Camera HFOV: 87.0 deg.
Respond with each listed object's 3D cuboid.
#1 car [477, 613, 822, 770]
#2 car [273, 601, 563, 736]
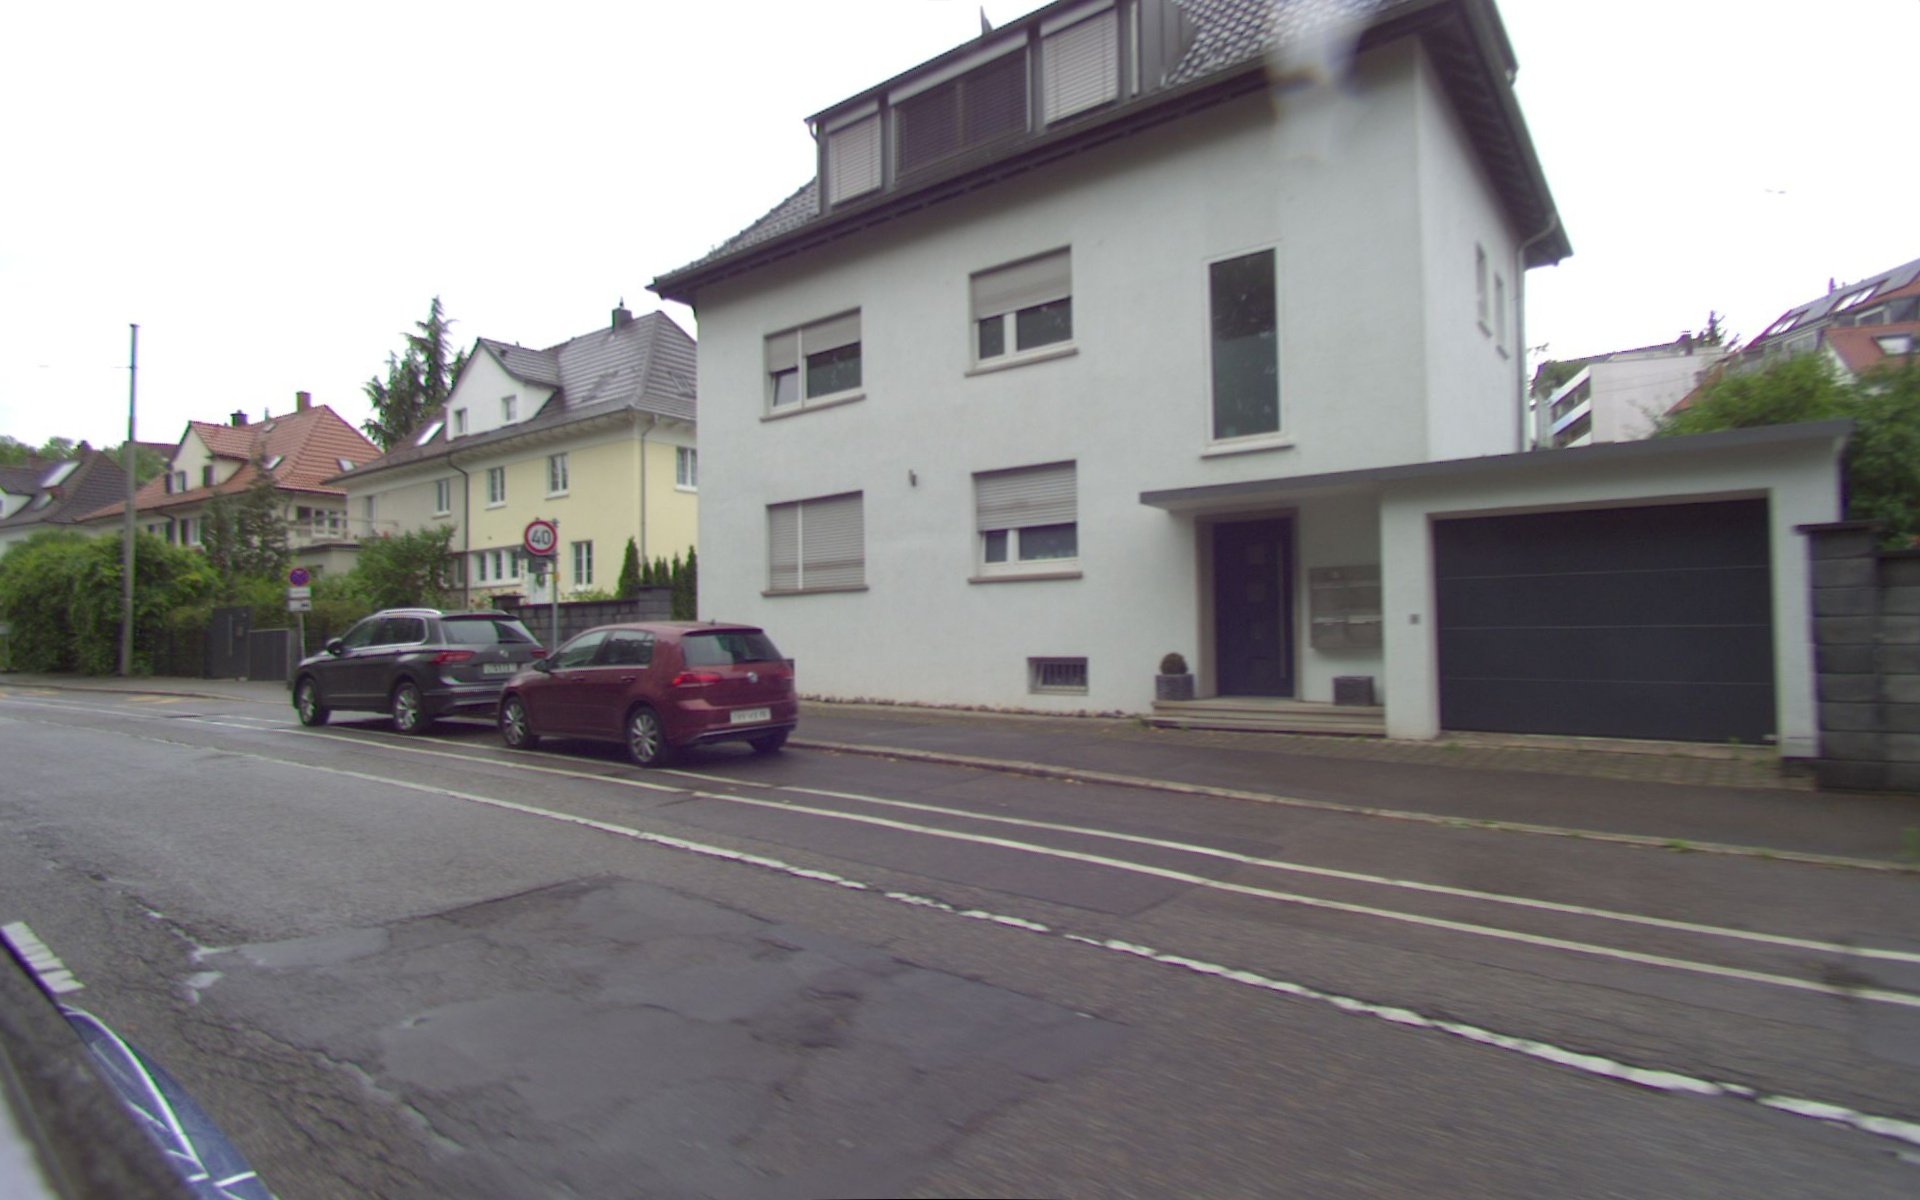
[{"bbox_3d":[-3.603,0.930,11.356,4.225,1.451,1.600,-2,-2,39],"label":"car"},{"bbox_3d":[-7.820,0.953,14.486,4.391,1.671,1.740,-2,-3,33],"label":"car"}]
